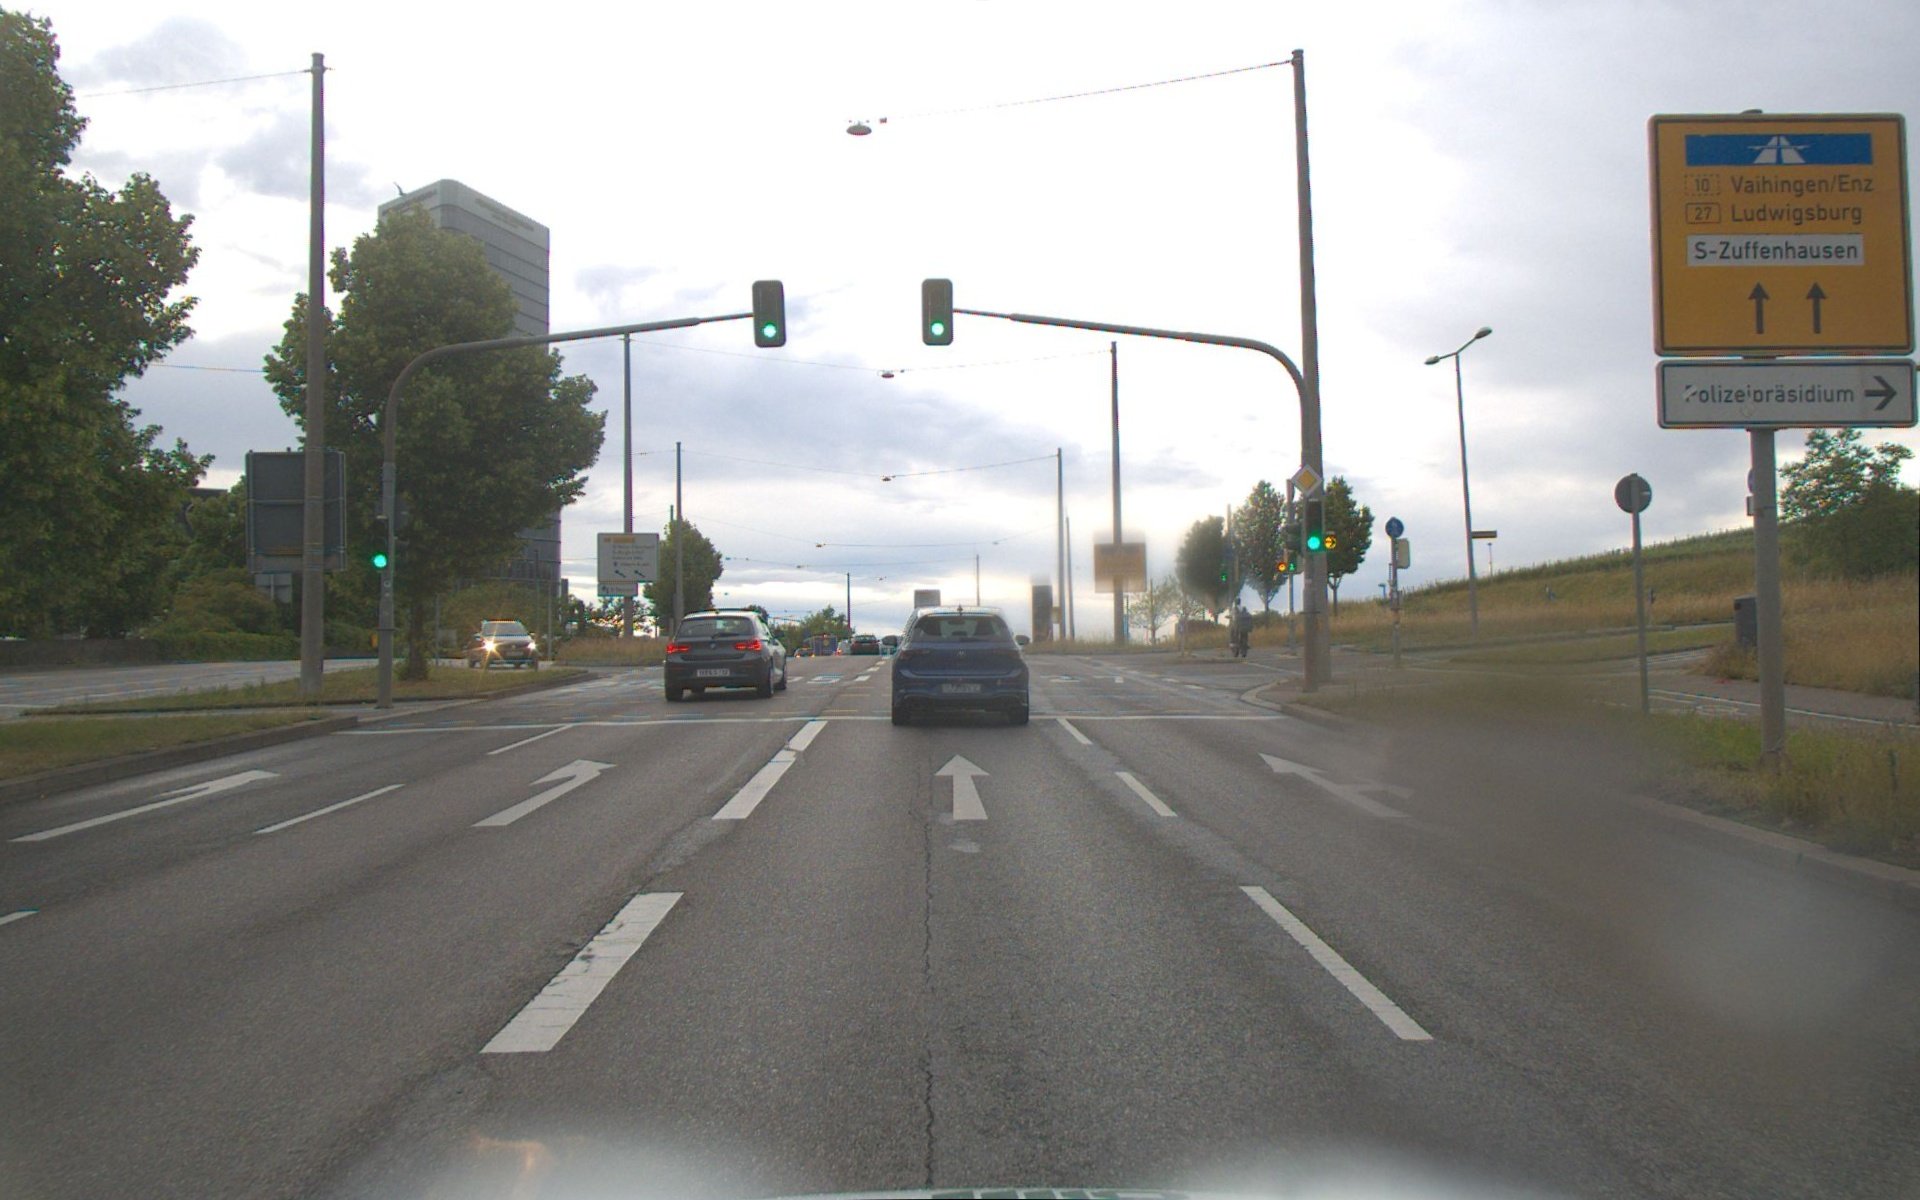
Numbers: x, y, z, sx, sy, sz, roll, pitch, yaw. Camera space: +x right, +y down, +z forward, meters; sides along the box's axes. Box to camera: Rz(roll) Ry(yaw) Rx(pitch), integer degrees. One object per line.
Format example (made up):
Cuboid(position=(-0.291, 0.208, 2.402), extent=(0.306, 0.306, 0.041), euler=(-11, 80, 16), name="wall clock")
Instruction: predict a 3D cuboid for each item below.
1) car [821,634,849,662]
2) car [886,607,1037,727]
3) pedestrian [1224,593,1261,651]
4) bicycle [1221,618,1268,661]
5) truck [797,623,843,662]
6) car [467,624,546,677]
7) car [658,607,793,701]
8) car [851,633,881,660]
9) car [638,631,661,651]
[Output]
Cuboid(position=(-10.052, 3.884, 132.455), extent=(1.869, 2.008, 5.081), euler=(-1, -4, -8), name="car")
Cuboid(position=(0.014, 0.825, 21.789), extent=(1.800, 1.418, 3.999), euler=(0, -1, 0), name="car")
Cuboid(position=(8.013, 0.618, 46.955), extent=(0.622, 1.597, 0.893), euler=(-5, 0, -12), name="pedestrian")
Cuboid(position=(8.056, 1.104, 46.874), extent=(0.622, 1.124, 1.748), euler=(-5, 0, -12), name="bicycle")
Cuboid(position=(-12.629, 3.895, 148.719), extent=(2.625, 3.277, 6.513), euler=(2, -4, -18), name="truck")
Cuboid(position=(-14.154, 1.544, 51.490), extent=(1.864, 1.533, 3.972), euler=(-1, -1, -23), name="car")
Cuboid(position=(-3.921, 0.883, 28.241), extent=(1.831, 1.487, 3.974), euler=(0, -1, -2), name="car")
Cuboid(position=(-5.765, 2.844, 102.030), extent=(1.687, 1.568, 3.702), euler=(2, -1, -1), name="car")
Cuboid(position=(-28.362, 3.771, 150.893), extent=(1.861, 1.687, 4.588), euler=(0, -3, -14), name="car")
